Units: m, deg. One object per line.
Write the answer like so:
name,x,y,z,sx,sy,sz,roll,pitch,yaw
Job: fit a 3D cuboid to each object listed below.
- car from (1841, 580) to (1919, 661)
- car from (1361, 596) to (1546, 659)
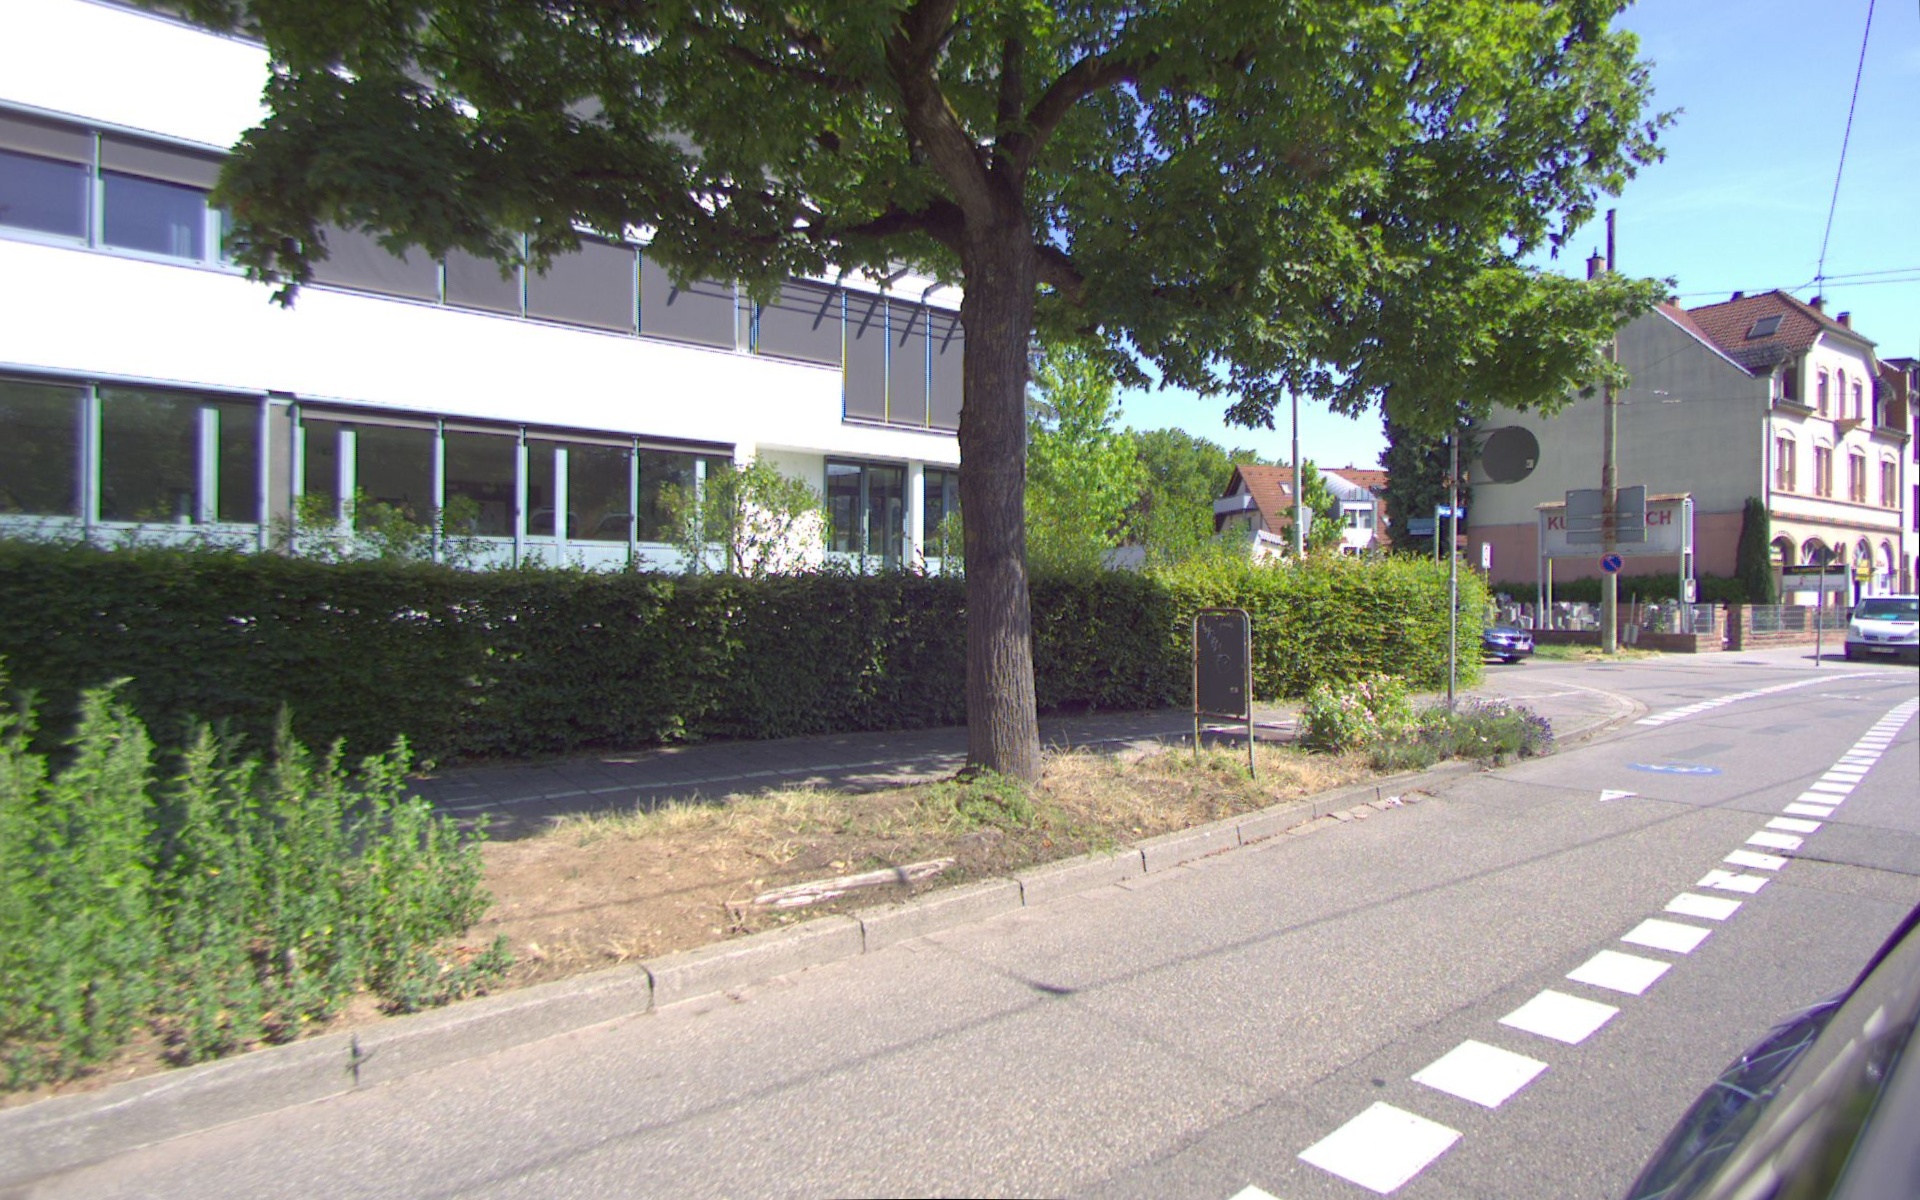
car,26.851,0.517,28.345,5.091,2.080,1.984,0,2,-34
car,11.956,0.624,24.716,1.639,1.406,3.758,0,0,-34
